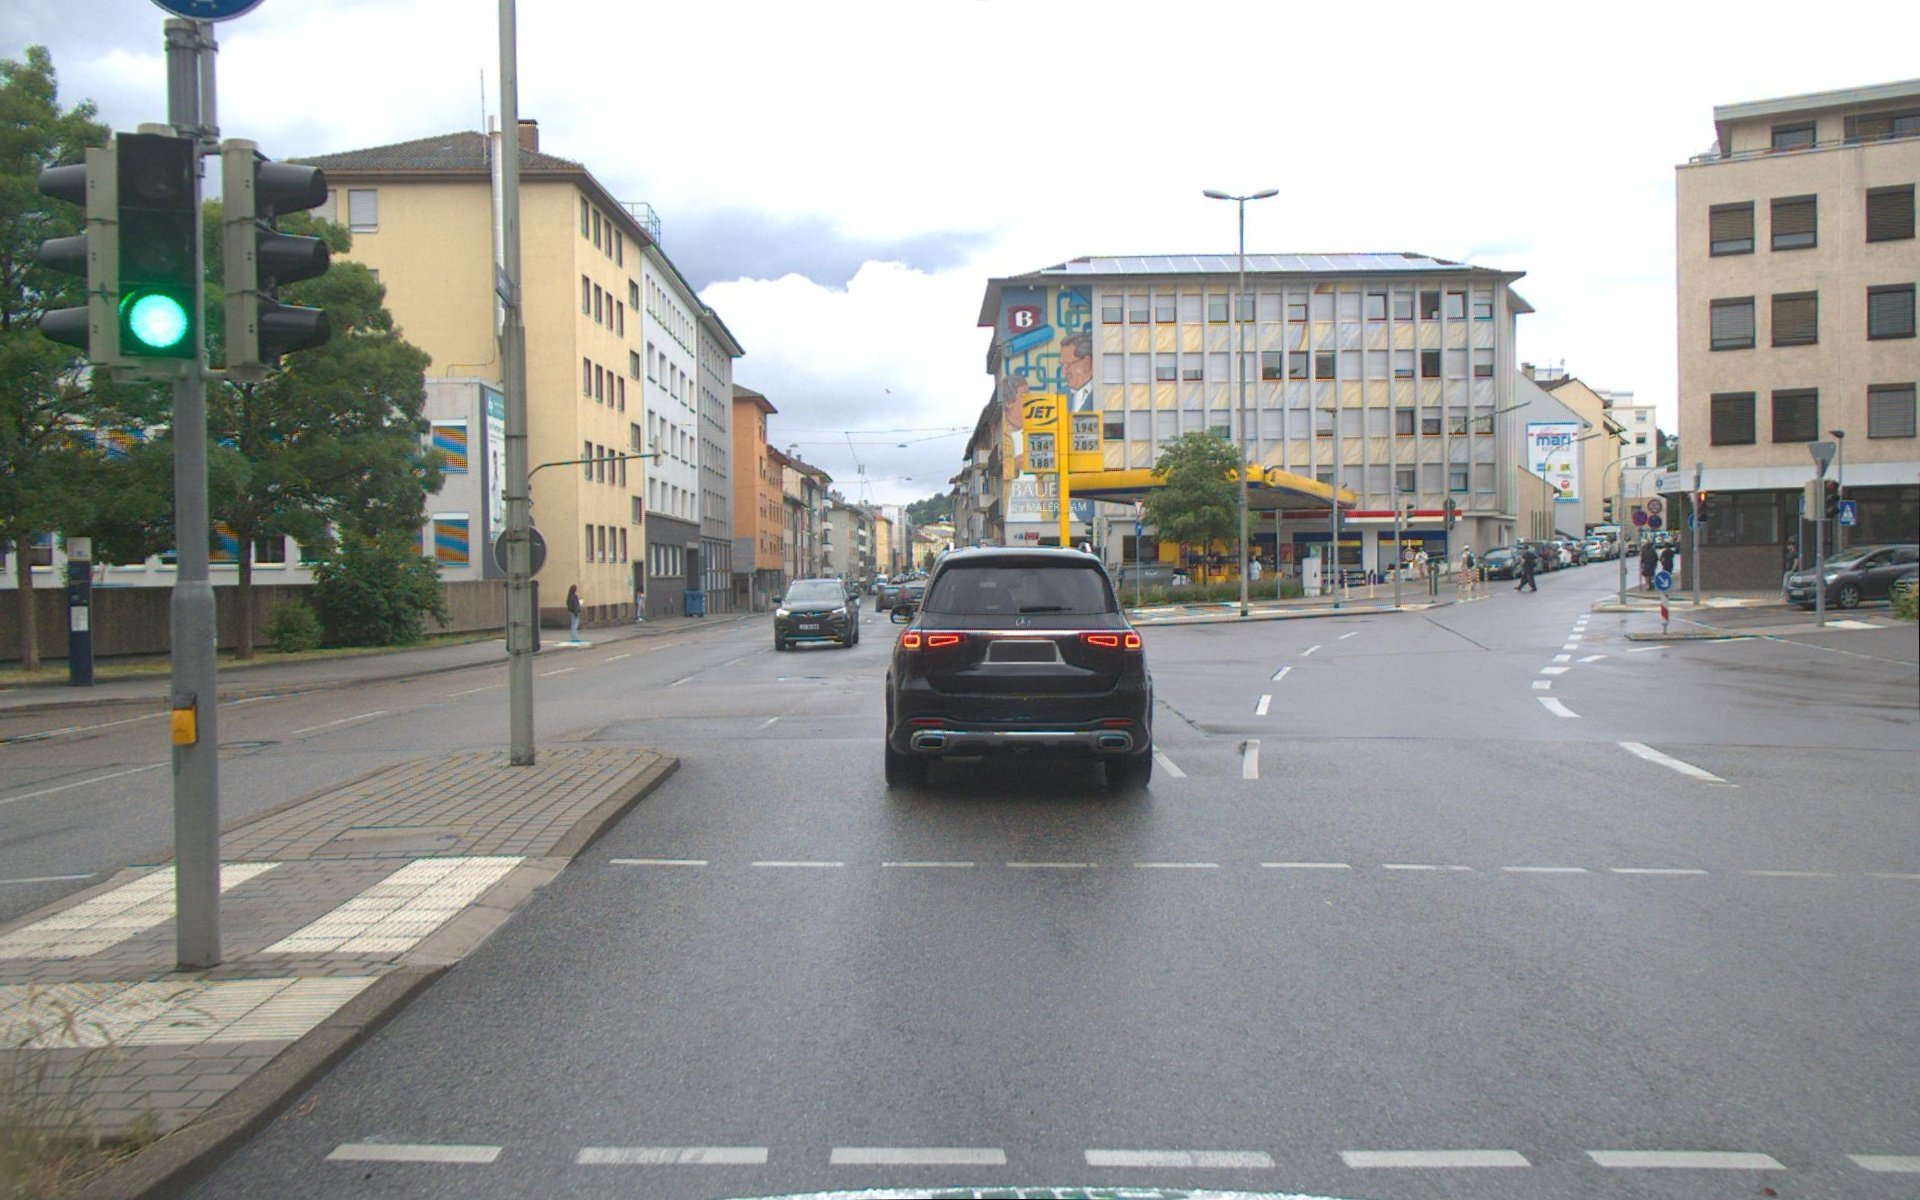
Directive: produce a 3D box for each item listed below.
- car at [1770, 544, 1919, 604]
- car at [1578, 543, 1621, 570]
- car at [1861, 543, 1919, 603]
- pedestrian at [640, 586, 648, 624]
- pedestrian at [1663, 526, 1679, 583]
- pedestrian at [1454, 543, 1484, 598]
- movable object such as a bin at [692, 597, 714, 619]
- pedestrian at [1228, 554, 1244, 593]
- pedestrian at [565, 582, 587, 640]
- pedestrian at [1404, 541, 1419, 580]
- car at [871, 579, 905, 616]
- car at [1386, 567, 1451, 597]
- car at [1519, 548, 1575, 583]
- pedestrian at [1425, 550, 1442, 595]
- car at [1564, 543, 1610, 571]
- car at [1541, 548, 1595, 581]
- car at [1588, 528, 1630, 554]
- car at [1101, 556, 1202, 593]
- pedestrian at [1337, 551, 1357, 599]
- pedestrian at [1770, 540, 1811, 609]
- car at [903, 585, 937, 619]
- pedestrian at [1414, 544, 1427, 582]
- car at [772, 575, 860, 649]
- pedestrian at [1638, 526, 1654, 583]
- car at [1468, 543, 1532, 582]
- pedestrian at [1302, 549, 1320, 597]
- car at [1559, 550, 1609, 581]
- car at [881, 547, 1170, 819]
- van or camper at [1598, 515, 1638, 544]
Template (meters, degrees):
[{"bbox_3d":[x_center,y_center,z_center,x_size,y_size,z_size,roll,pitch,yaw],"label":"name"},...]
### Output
[{"bbox_3d":[23.980,-0.687,43.861,4.095,1.465,1.860,-1,0,6],"label":"car"},{"bbox_3d":[43.245,-2.903,111.784,1.958,1.735,3.990,-1,0,33],"label":"car"},{"bbox_3d":[25.112,-0.719,41.386,4.095,1.465,1.860,-1,0,6],"label":"car"},{"bbox_3d":[-13.822,0.231,72.385,0.240,1.653,0.411,1,-2,0],"label":"pedestrian"},{"bbox_3d":[26.003,-1.656,60.460,0.388,2.049,0.446,1,-2,0],"label":"pedestrian"},{"bbox_3d":[20.575,-1.187,66.859,0.838,2.165,0.947,-1,0,-7],"label":"pedestrian"},{"bbox_3d":[-12.539,0.399,80.636,0.891,1.056,0.844,1,-1,0],"label":"movable object such as a bin"},{"bbox_3d":[12.624,-1.207,75.650,0.516,1.757,0.688,-1,0,29],"label":"pedestrian"},{"bbox_3d":[-11.813,0.332,50.903,0.616,1.757,0.649,-1,0,-11],"label":"pedestrian"},{"bbox_3d":[20.928,-1.825,76.650,0.515,1.757,0.688,-1,0,26],"label":"pedestrian"},{"bbox_3d":[-4.215,-0.131,97.221,1.953,2.049,3.998,1,-1,-2],"label":"car"},{"bbox_3d":[24.142,-0.927,87.037,1.961,1.423,3.982,0,-2,38],"label":"car"},{"bbox_3d":[31.012,-1.814,87.311,1.958,1.735,3.990,-1,0,33],"label":"car"},{"bbox_3d":[15.284,-0.877,53.398,0.388,1.424,0.446,1,-1,0],"label":"pedestrian"},{"bbox_3d":[40.769,-2.806,107.486,1.958,1.735,3.990,-1,0,33],"label":"car"},{"bbox_3d":[33.957,-1.972,92.323,1.958,1.735,3.990,-1,0,33],"label":"car"},{"bbox_3d":[46.428,-4.213,118.266,1.958,1.743,4.373,-1,0,33],"label":"car"},{"bbox_3d":[7.875,-1.049,68.280,1.724,1.400,3.935,-2,0,-44],"label":"car"},{"bbox_3d":[14.050,-0.913,60.061,0.560,1.727,0.631,1,-1,0],"label":"pedestrian"},{"bbox_3d":[24.888,-0.757,49.600,0.860,2.049,0.729,1,-1,0],"label":"pedestrian"},{"bbox_3d":[-2.020,0.127,83.420,1.650,1.624,3.998,1,-1,-2],"label":"car"},{"bbox_3d":[20.637,-1.655,74.183,0.474,1.669,0.438,0,-2,28],"label":"pedestrian"},{"bbox_3d":[-3.397,0.311,39.723,1.954,1.643,4.186,1,-1,-4],"label":"car"},{"bbox_3d":[25.116,-1.671,60.589,0.388,2.049,0.446,1,-2,0],"label":"pedestrian"},{"bbox_3d":[25.734,-1.762,78.750,1.958,1.735,3.990,-1,0,33],"label":"car"},{"bbox_3d":[13.089,-1.003,61.682,0.515,1.757,0.688,-1,0,26],"label":"pedestrian"},{"bbox_3d":[36.593,-2.005,96.942,1.958,1.735,3.990,-1,0,33],"label":"car"},{"bbox_3d":[0.425,0.610,13.357,1.953,1.832,3.999,1,-1,-1],"label":"car"},{"bbox_3d":[49.565,-5.282,124.459,1.958,2.013,4.501,-1,0,32],"label":"van or camper"}]
